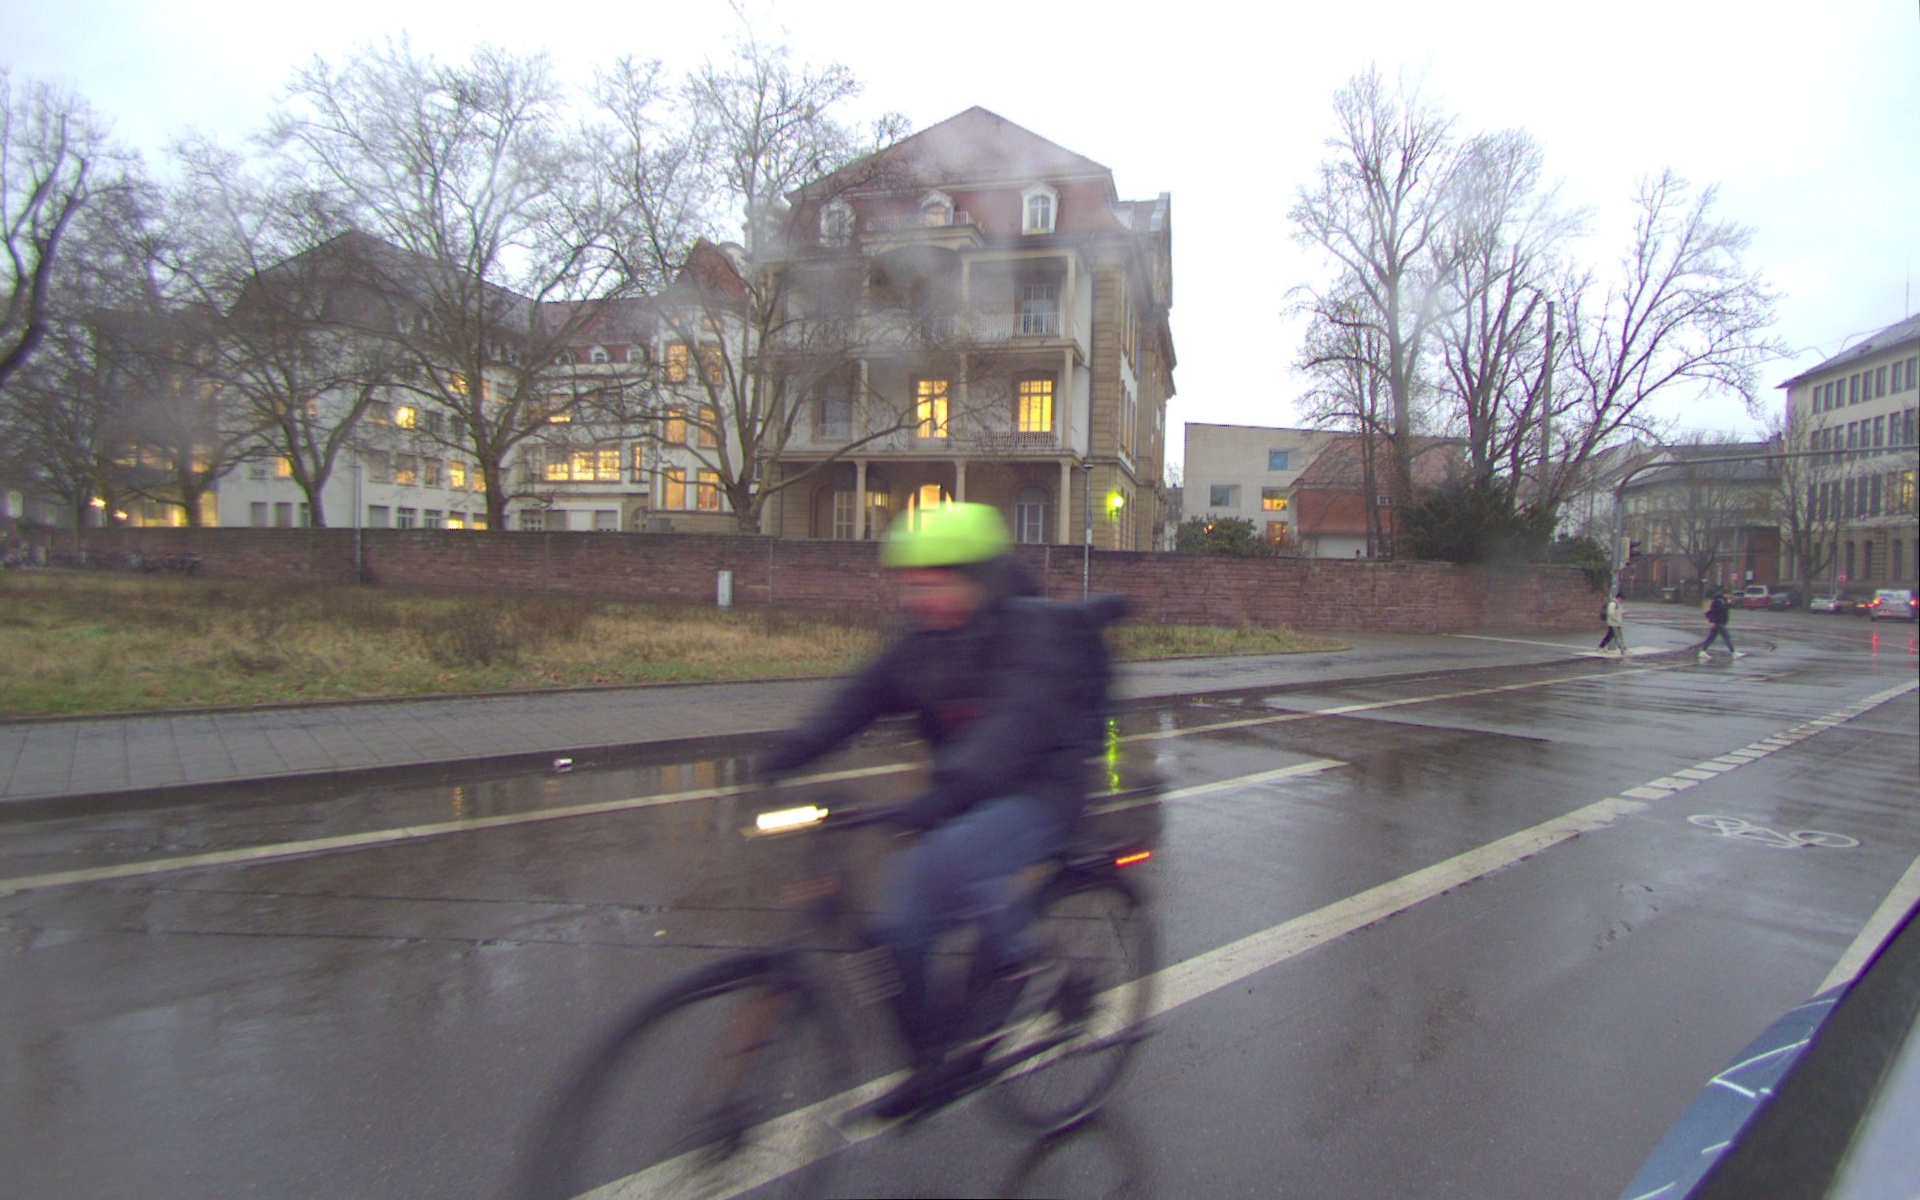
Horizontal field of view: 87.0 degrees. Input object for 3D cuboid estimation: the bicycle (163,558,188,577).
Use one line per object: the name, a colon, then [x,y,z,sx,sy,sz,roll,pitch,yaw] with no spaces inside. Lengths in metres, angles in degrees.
bicycle: [-35.554,-1.470,45.859,1.519,0.796,0.389,0,0,33]

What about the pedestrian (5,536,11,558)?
pedestrian: [-78.760,-4.364,83.752,0.312,1.814,0.462,1,2,-40]

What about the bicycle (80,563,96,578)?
bicycle: [-45.446,-1.534,52.740,1.522,0.796,0.389,0,0,38]

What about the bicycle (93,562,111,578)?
bicycle: [-43.135,-1.497,50.896,1.522,0.796,0.389,0,0,38]

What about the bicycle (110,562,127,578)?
bicycle: [-41.478,-1.477,49.875,1.599,0.796,0.388,0,0,41]

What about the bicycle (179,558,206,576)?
bicycle: [-34.214,-1.469,45.110,1.399,0.796,0.355,0,0,26]

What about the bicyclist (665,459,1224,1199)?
bicyclist: [-0.020,0.479,2.451,1.114,1.471,0.784,0,0,-41]

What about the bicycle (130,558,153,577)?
bicycle: [-38.630,-1.508,47.767,1.519,0.869,0.389,0,0,33]

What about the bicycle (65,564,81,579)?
bicycle: [-47.900,-1.539,54.673,1.522,0.796,0.389,0,0,38]

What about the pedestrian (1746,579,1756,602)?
pedestrian: [71.734,-0.864,91.789,0.467,2.038,0.545,2,2,12]

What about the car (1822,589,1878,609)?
car: [63.596,-0.080,72.308,3.568,1.322,1.712,-1,0,-25]

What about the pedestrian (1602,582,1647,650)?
pedestrian: [17.808,0.419,27.110,0.662,1.744,0.798,0,3,-42]

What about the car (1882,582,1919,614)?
car: [56.749,-0.146,60.760,1.876,1.868,3.942,0,0,40]

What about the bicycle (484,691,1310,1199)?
bicycle: [-0.018,0.860,2.451,1.923,1.088,0.784,-1,0,-41]

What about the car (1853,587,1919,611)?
car: [61.957,-0.059,67.013,3.927,1.570,1.800,0,0,4]

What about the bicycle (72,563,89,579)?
bicycle: [-46.677,-1.537,53.718,1.522,0.796,0.389,0,0,38]

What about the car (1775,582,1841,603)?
car: [64.693,-0.584,77.233,3.916,1.570,1.805,0,0,-13]

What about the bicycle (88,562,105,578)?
bicycle: [-44.183,-1.531,51.767,1.522,0.796,0.389,0,0,38]

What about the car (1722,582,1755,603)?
car: [66.474,-0.642,86.395,1.992,1.690,3.940,0,1,42]

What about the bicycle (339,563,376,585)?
bicycle: [-23.388,-0.989,39.272,1.366,0.835,0.392,0,0,14]

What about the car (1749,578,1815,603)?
car: [64.975,-0.789,80.031,3.916,1.924,2.052,0,0,-13]

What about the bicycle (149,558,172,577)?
bicycle: [-37.034,-1.498,46.885,1.480,0.849,0.346,0,0,32]

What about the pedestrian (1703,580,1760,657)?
pedestrian: [20.175,0.467,26.474,0.662,1.924,0.998,0,3,-41]

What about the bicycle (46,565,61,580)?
bicycle: [-51.614,-1.548,57.591,1.522,0.796,0.389,0,0,38]

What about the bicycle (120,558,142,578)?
bicycle: [-39.912,-1.540,48.721,1.519,0.928,0.389,0,0,33]
